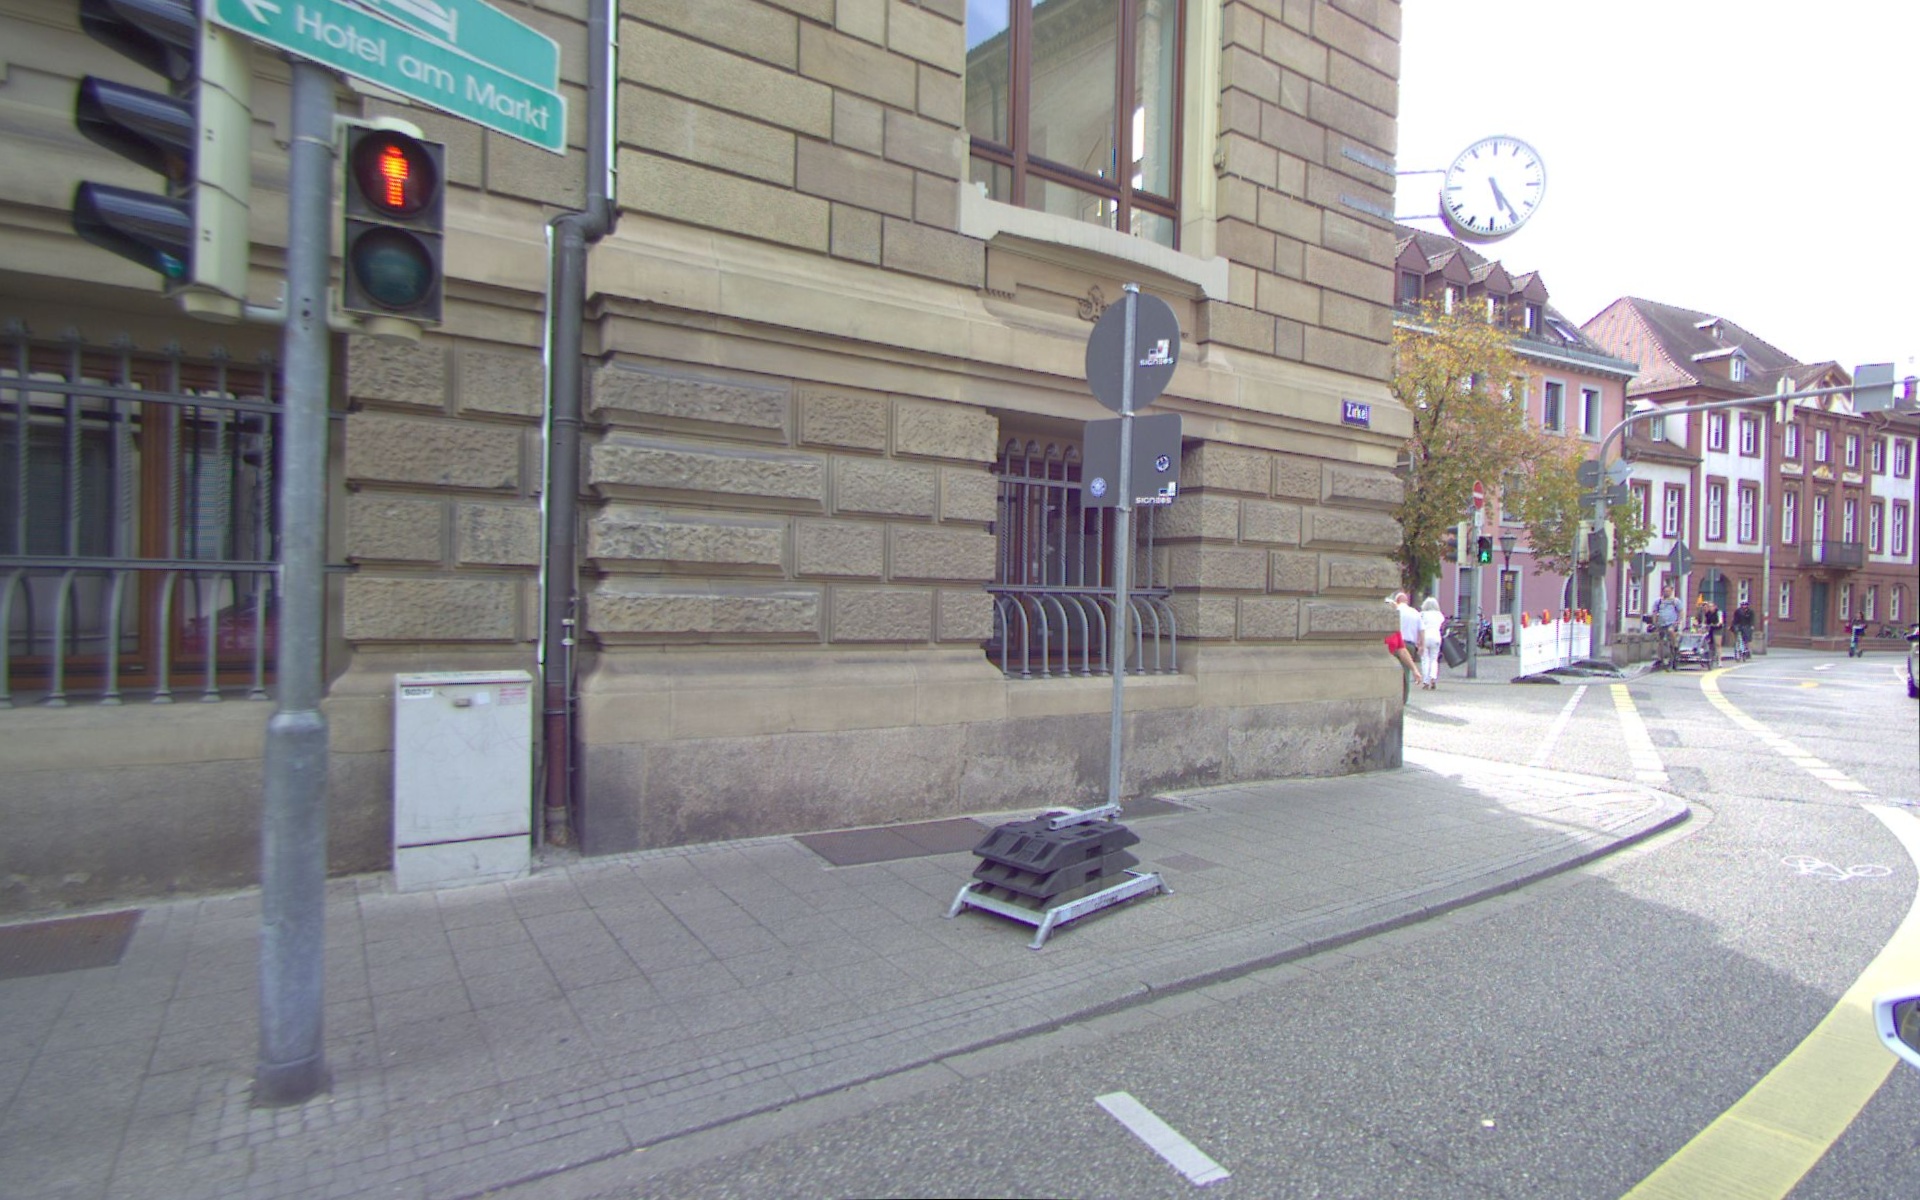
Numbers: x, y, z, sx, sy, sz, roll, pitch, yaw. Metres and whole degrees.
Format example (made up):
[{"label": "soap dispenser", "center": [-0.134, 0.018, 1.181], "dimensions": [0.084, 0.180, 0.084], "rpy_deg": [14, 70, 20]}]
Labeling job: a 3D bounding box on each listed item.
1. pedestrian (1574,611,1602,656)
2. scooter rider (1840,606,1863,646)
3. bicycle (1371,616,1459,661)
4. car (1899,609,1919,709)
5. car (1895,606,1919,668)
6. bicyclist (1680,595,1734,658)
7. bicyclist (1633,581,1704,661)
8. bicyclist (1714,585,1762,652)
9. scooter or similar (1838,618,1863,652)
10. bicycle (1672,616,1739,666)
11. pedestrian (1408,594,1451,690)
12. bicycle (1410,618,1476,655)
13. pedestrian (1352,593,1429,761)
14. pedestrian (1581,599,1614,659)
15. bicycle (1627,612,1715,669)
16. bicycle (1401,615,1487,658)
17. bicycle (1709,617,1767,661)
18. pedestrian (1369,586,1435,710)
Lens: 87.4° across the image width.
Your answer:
[{"label": "pedestrian", "center": [23.650, 1.247, 37.816], "dimensions": [0.690, 1.699, 0.660], "rpy_deg": [0, 0, -32]}, {"label": "scooter rider", "center": [34.228, 1.007, 38.573], "dimensions": [0.675, 1.510, 0.593], "rpy_deg": [1, 0, -44]}, {"label": "bicycle", "center": [11.393, 0.945, 25.231], "dimensions": [0.500, 1.073, 2.037], "rpy_deg": [1, -1, -36]}, {"label": "car", "center": [16.264, 0.939, 16.028], "dimensions": [1.659, 1.488, 4.082], "rpy_deg": [2, 1, 41]}, {"label": "car", "center": [26.966, 1.026, 27.477], "dimensions": [1.752, 1.607, 3.981], "rpy_deg": [2, 0, 40]}, {"label": "bicyclist", "center": [19.919, 0.708, 26.787], "dimensions": [1.055, 1.630, 0.918], "rpy_deg": [1, 0, -41]}, {"label": "bicyclist", "center": [16.995, 0.504, 24.090], "dimensions": [1.355, 1.848, 1.081], "rpy_deg": [2, 0, -41]}, {"label": "bicyclist", "center": [23.871, 0.565, 30.811], "dimensions": [1.097, 1.989, 0.918], "rpy_deg": [1, 0, -41]}, {"label": "scooter or similar", "center": [34.216, 1.349, 38.574], "dimensions": [1.542, 1.272, 0.593], "rpy_deg": [2, 0, -45]}, {"label": "bicycle", "center": [19.880, 1.078, 26.760], "dimensions": [2.521, 1.272, 0.918], "rpy_deg": [2, 0, -41]}, {"label": "pedestrian", "center": [8.568, 0.755, 18.358], "dimensions": [0.653, 1.699, 0.698], "rpy_deg": [0, 0, 20]}, {"label": "bicycle", "center": [15.443, 1.157, 32.090], "dimensions": [2.026, 1.154, 0.670], "rpy_deg": [1, -1, -19]}, {"label": "pedestrian", "center": [4.395, 0.765, 10.278], "dimensions": [0.604, 1.656, 0.544], "rpy_deg": [2, 0, 14]}, {"label": "pedestrian", "center": [18.376, 0.819, 28.953], "dimensions": [0.653, 1.699, 0.698], "rpy_deg": [0, 0, 20]}, {"label": "bicycle", "center": [17.205, 0.972, 24.261], "dimensions": [3.017, 1.272, 1.047], "rpy_deg": [2, 0, -41]}, {"label": "bicycle", "center": [12.642, 0.944, 26.295], "dimensions": [0.500, 1.073, 2.037], "rpy_deg": [1, -1, -36]}, {"label": "bicycle", "center": [23.912, 1.175, 30.861], "dimensions": [2.521, 1.272, 0.918], "rpy_deg": [2, 0, -41]}, {"label": "pedestrian", "center": [6.887, 0.730, 15.685], "dimensions": [0.832, 1.859, 0.857], "rpy_deg": [2, 0, 20]}]
